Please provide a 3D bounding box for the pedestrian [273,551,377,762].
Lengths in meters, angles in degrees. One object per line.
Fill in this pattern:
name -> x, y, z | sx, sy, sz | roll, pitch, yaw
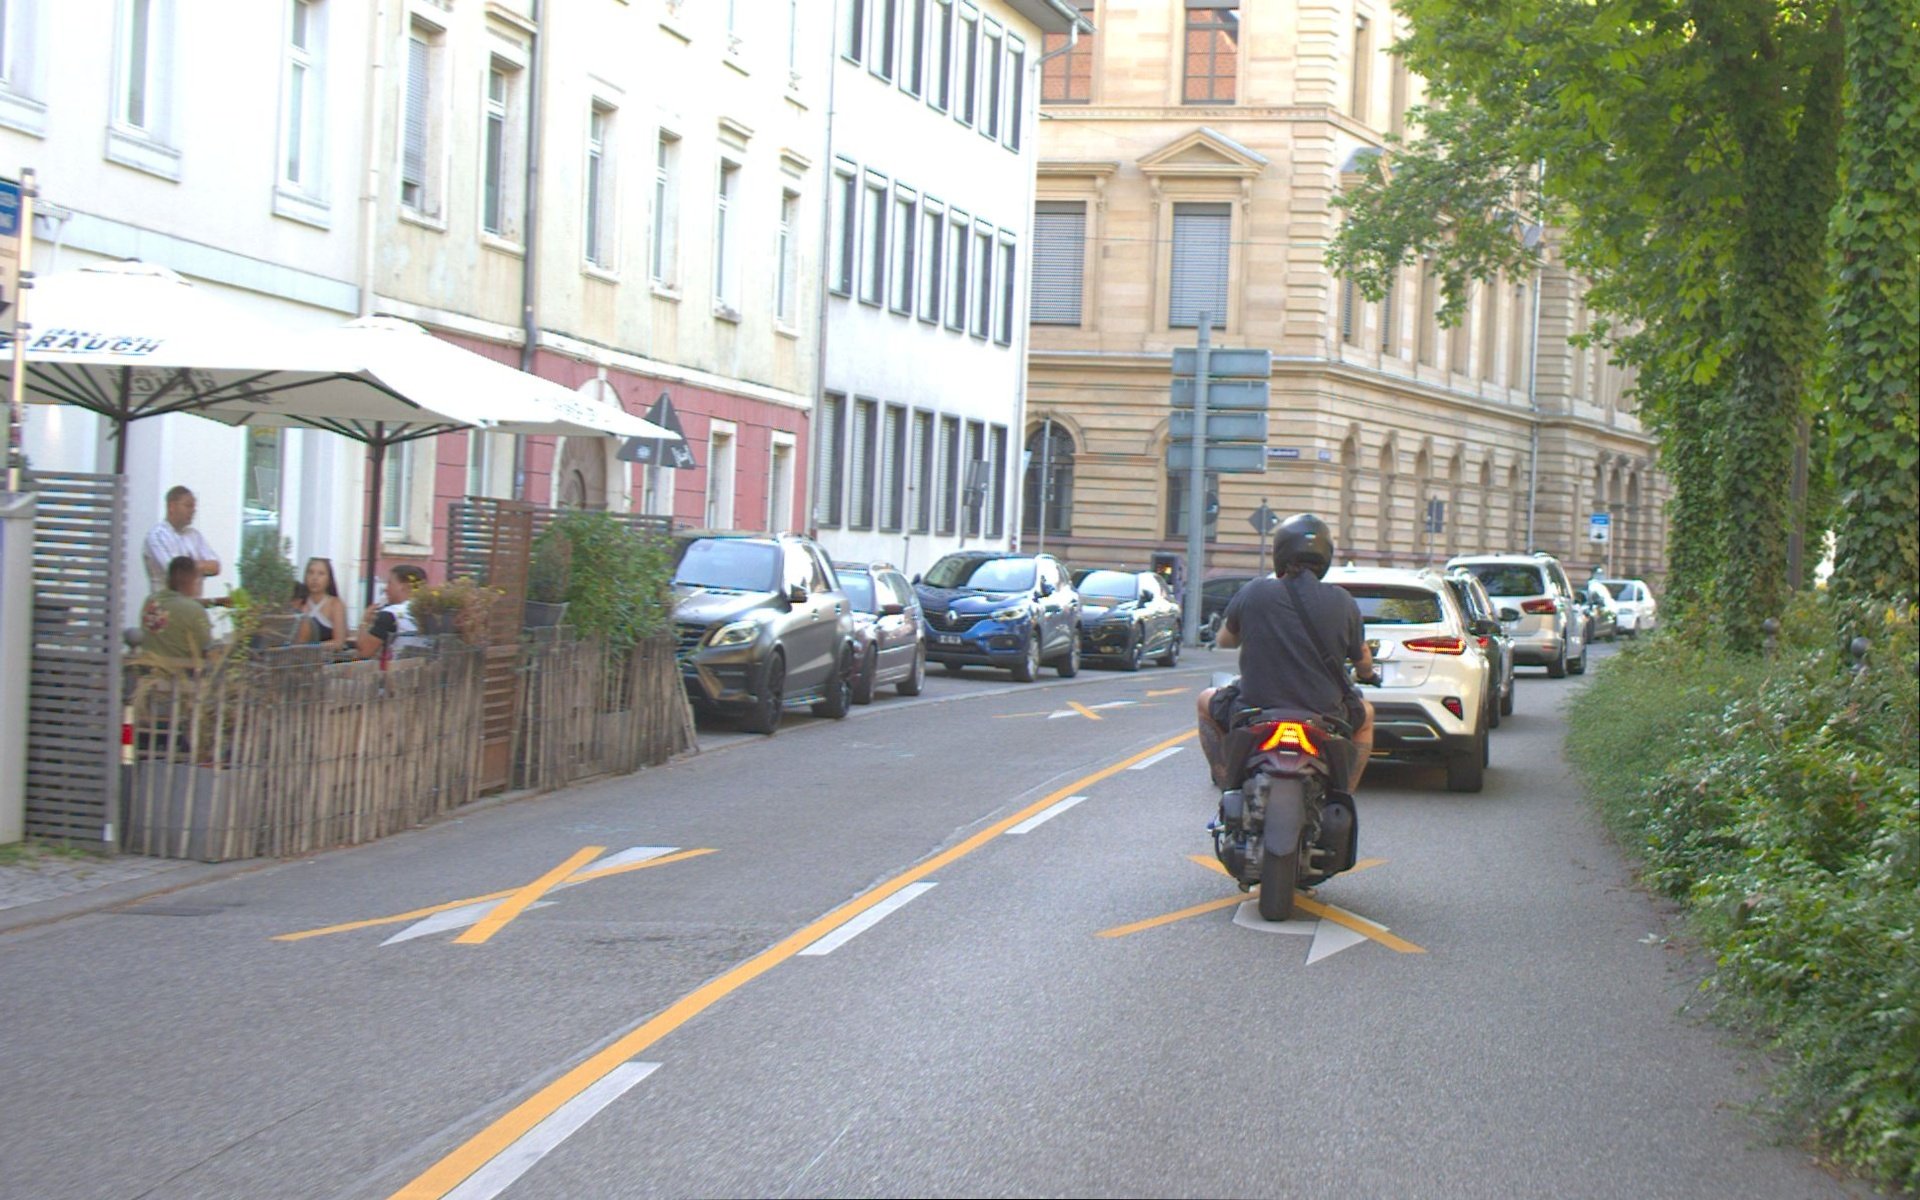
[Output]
pedestrian -> -4.272, 0.371, 23.150 | 0.523, 1.386, 0.488 | 2, 1, 5

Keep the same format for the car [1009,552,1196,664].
car -> 2.195, 0.090, 51.453 | 1.825, 1.498, 4.757 | 4, 1, 14

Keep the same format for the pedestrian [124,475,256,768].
pedestrian -> -4.763, 0.126, 21.277 | 0.596, 1.769, 0.439 | 3, 1, 17

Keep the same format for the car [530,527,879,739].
car -> -2.156, 0.240, 30.536 | 1.923, 1.674, 4.783 | 2, 1, 10

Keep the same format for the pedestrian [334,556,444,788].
pedestrian -> -3.613, 0.445, 21.764 | 0.471, 1.428, 0.502 | 3, 1, 13

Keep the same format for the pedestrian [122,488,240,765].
pedestrian -> -5.103, 0.168, 22.531 | 0.438, 1.769, 0.597 | 3, 1, 21

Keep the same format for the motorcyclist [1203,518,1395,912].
motorcyclist -> 1.467, 0.482, 14.959 | 0.657, 1.645, 0.651 | 3, 1, -2

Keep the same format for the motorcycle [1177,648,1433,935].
motorcycle -> 1.458, 0.793, 14.843 | 0.796, 1.062, 1.725 | 3, 1, -3

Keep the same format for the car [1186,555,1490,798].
car -> 2.724, 0.459, 24.010 | 1.851, 1.475, 4.056 | 2, 1, 9

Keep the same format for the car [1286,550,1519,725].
car -> 4.283, 0.316, 32.830 | 1.841, 1.458, 4.055 | 4, 1, 11

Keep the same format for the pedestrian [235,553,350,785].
pedestrian -> -4.093, 0.417, 21.101 | 0.523, 1.386, 0.488 | 2, 1, 5

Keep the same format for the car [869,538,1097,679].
car -> 0.360, 0.080, 44.229 | 1.935, 1.662, 4.344 | 2, 1, 14

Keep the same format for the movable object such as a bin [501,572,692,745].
movable object such as a bin -> -2.854, 0.447, 27.057 | 1.216, 1.291, 0.930 | 2, 1, 13

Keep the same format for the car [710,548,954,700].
car -> -1.285, 0.212, 36.530 | 1.654, 1.475, 4.426 | 2, 1, 10

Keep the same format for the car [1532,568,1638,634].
car -> 15.496, 0.011, 85.112 | 1.995, 1.561, 4.285 | 2, 1, 18

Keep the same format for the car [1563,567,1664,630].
car -> 16.766, -0.042, 88.081 | 1.995, 1.523, 4.181 | 2, 1, 18
